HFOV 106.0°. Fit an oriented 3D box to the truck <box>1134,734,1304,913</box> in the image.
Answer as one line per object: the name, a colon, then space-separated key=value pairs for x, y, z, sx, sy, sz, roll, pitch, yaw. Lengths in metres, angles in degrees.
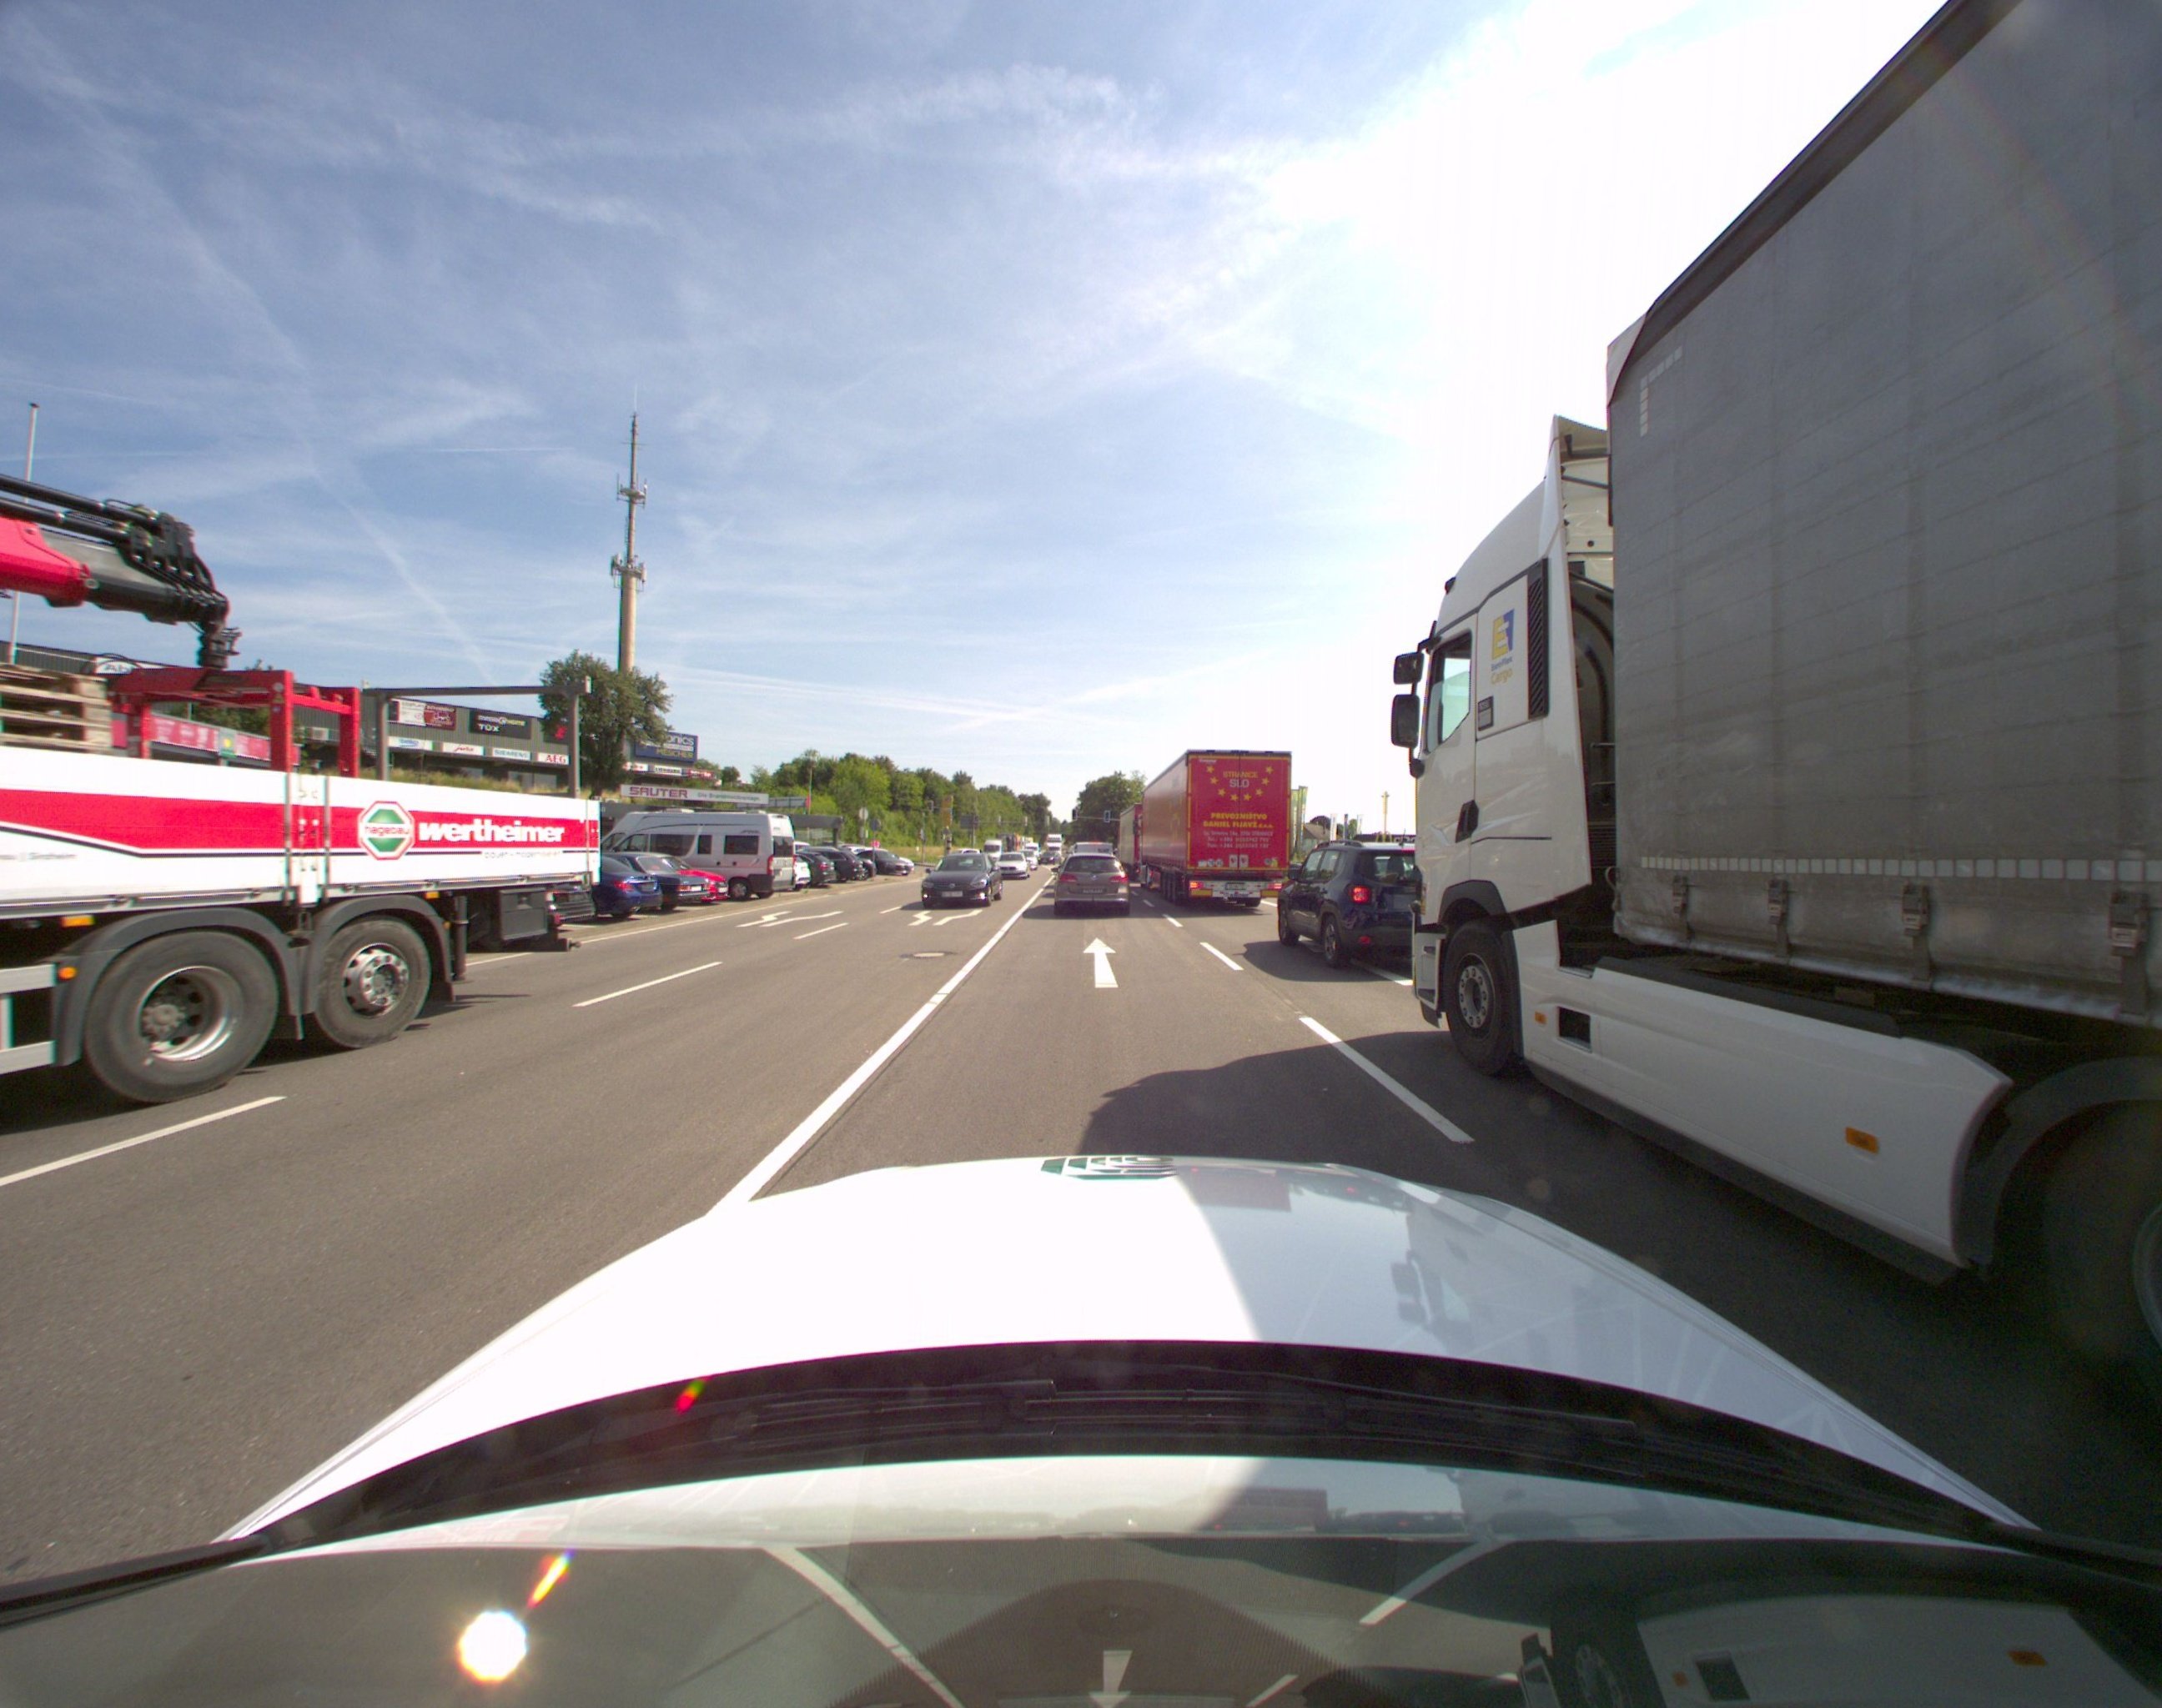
truck: x=3.901 y=-0.751 z=28.055 sx=2.947 sy=4.269 sz=16.581 roll=1 pitch=0 yaw=0

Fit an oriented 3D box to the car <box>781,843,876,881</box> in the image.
car: x=-11.750 y=0.357 z=38.057 sx=3.805 sy=1.675 sz=1.842 roll=1 pitch=0 yaw=-1

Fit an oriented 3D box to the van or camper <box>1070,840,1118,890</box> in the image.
van or camper: x=0.511 y=0.430 z=33.992 sx=1.847 sy=1.905 sz=3.783 roll=1 pitch=0 yaw=-1

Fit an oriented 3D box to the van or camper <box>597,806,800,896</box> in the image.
van or camper: x=-13.089 y=-0.109 z=28.172 sx=5.873 sy=2.873 sz=2.289 roll=1 pitch=0 yaw=0

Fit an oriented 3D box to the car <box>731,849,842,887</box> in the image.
car: x=-11.854 y=0.547 z=32.947 sx=3.805 sy=1.448 sz=1.842 roll=1 pitch=0 yaw=-1

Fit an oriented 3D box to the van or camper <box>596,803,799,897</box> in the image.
van or camper: x=-11.875 y=-0.121 z=25.505 sx=5.226 sy=2.731 sz=2.211 roll=1 pitch=0 yaw=1

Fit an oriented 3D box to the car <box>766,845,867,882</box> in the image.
car: x=-11.551 y=0.391 z=35.766 sx=3.805 sy=1.539 sz=1.842 roll=1 pitch=0 yaw=-1

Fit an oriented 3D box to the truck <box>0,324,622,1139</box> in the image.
truck: x=-7.038 y=-0.621 z=4.335 sx=2.946 sy=4.209 sz=10.648 roll=-1 pitch=0 yaw=1

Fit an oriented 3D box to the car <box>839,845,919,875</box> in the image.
car: x=-12.166 y=0.353 z=49.020 sx=4.470 sy=1.693 sz=2.145 roll=1 pitch=0 yaw=32

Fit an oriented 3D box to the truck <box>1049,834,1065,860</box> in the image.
truck: x=-4.189 y=-1.194 z=140.829 sx=2.545 sy=4.307 sz=7.594 roll=0 pitch=0 yaw=0

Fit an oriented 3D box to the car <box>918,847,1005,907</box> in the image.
car: x=-3.323 y=0.587 z=23.408 sx=1.800 sy=1.560 sz=4.387 roll=0 pitch=0 yaw=0

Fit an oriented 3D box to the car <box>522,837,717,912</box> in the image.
car: x=-11.333 y=0.491 z=20.196 sx=3.698 sy=1.484 sz=1.706 roll=5 pitch=0 yaw=-2

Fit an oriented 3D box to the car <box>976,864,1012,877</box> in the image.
car: x=-10.352 y=1.905 z=97.054 sx=1.696 sy=1.448 sz=4.106 roll=0 pitch=0 yaw=41

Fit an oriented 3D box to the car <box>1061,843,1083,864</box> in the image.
car: x=-0.830 y=-0.022 z=75.604 sx=1.719 sy=1.909 sz=3.315 roll=1 pitch=-1 yaw=3

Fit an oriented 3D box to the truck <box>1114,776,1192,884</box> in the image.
truck: x=3.895 y=-1.211 z=48.478 sx=3.053 sy=5.220 sz=17.004 roll=1 pitch=0 yaw=0

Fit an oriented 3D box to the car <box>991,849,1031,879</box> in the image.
car: x=-3.834 y=0.523 z=45.125 sx=1.904 sy=1.521 sz=4.778 roll=1 pitch=0 yaw=-2

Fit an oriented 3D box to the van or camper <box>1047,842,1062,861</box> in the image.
van or camper: x=-4.104 y=-0.342 z=126.786 sx=2.217 sy=2.841 sz=5.709 roll=1 pitch=-1 yaw=0

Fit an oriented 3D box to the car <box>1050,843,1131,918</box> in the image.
car: x=0.314 y=0.589 z=19.798 sx=1.782 sy=1.638 sz=3.506 roll=0 pitch=0 yaw=3

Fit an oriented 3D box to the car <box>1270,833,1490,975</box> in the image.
car: x=4.036 y=0.595 z=11.731 sx=1.812 sy=1.685 sz=4.001 roll=0 pitch=0 yaw=1

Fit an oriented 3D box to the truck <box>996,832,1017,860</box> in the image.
truck: x=-10.705 y=-1.116 z=117.062 sx=2.807 sy=3.786 sz=6.980 roll=0 pitch=0 yaw=-4

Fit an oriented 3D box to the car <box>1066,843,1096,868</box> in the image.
car: x=0.051 y=0.088 z=52.363 sx=1.720 sy=1.519 sz=3.314 roll=1 pitch=-1 yaw=3

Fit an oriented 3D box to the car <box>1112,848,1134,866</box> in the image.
car: x=3.729 y=0.254 z=72.960 sx=1.721 sy=1.519 sz=3.311 roll=2 pitch=-1 yaw=-1

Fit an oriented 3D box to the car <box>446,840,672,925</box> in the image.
car: x=-11.140 y=0.576 z=17.582 sx=3.697 sy=1.555 sz=1.707 roll=3 pitch=1 yaw=-2

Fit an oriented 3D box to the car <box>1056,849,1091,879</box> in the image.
car: x=-0.376 y=0.533 z=44.029 sx=1.720 sy=1.519 sz=3.314 roll=1 pitch=-1 yaw=2

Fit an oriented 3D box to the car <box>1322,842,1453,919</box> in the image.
car: x=7.364 y=0.586 z=19.996 sx=1.812 sy=1.685 sz=4.001 roll=0 pitch=0 yaw=1

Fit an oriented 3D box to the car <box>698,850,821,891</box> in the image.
car: x=-11.965 y=0.600 z=30.491 sx=3.805 sy=1.448 sz=1.842 roll=1 pitch=0 yaw=-1

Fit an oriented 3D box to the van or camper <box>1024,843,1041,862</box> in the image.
van or camper: x=-6.892 y=-0.259 z=115.518 sx=2.167 sy=2.551 sz=4.169 roll=1 pitch=0 yaw=-1

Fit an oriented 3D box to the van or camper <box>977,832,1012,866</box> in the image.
van or camper: x=-8.324 y=-0.459 z=78.979 sx=2.198 sy=3.055 sz=5.906 roll=5 pitch=0 yaw=3

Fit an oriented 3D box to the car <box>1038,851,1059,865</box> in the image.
car: x=-3.337 y=0.436 z=84.478 sx=1.658 sy=1.409 sz=3.933 roll=-1 pitch=0 yaw=6

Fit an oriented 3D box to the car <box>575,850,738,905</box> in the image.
car: x=-11.854 y=0.625 z=22.919 sx=3.581 sy=1.480 sz=1.812 roll=0 pitch=0 yaw=0

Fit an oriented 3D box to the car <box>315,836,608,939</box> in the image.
car: x=-11.253 y=0.589 z=15.023 sx=3.834 sy=1.484 sz=1.801 roll=5 pitch=0 yaw=-2

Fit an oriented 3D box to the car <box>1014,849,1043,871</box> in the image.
car: x=-4.115 y=0.441 z=63.942 sx=1.902 sy=1.663 sz=4.181 roll=-1 pitch=0 yaw=1
